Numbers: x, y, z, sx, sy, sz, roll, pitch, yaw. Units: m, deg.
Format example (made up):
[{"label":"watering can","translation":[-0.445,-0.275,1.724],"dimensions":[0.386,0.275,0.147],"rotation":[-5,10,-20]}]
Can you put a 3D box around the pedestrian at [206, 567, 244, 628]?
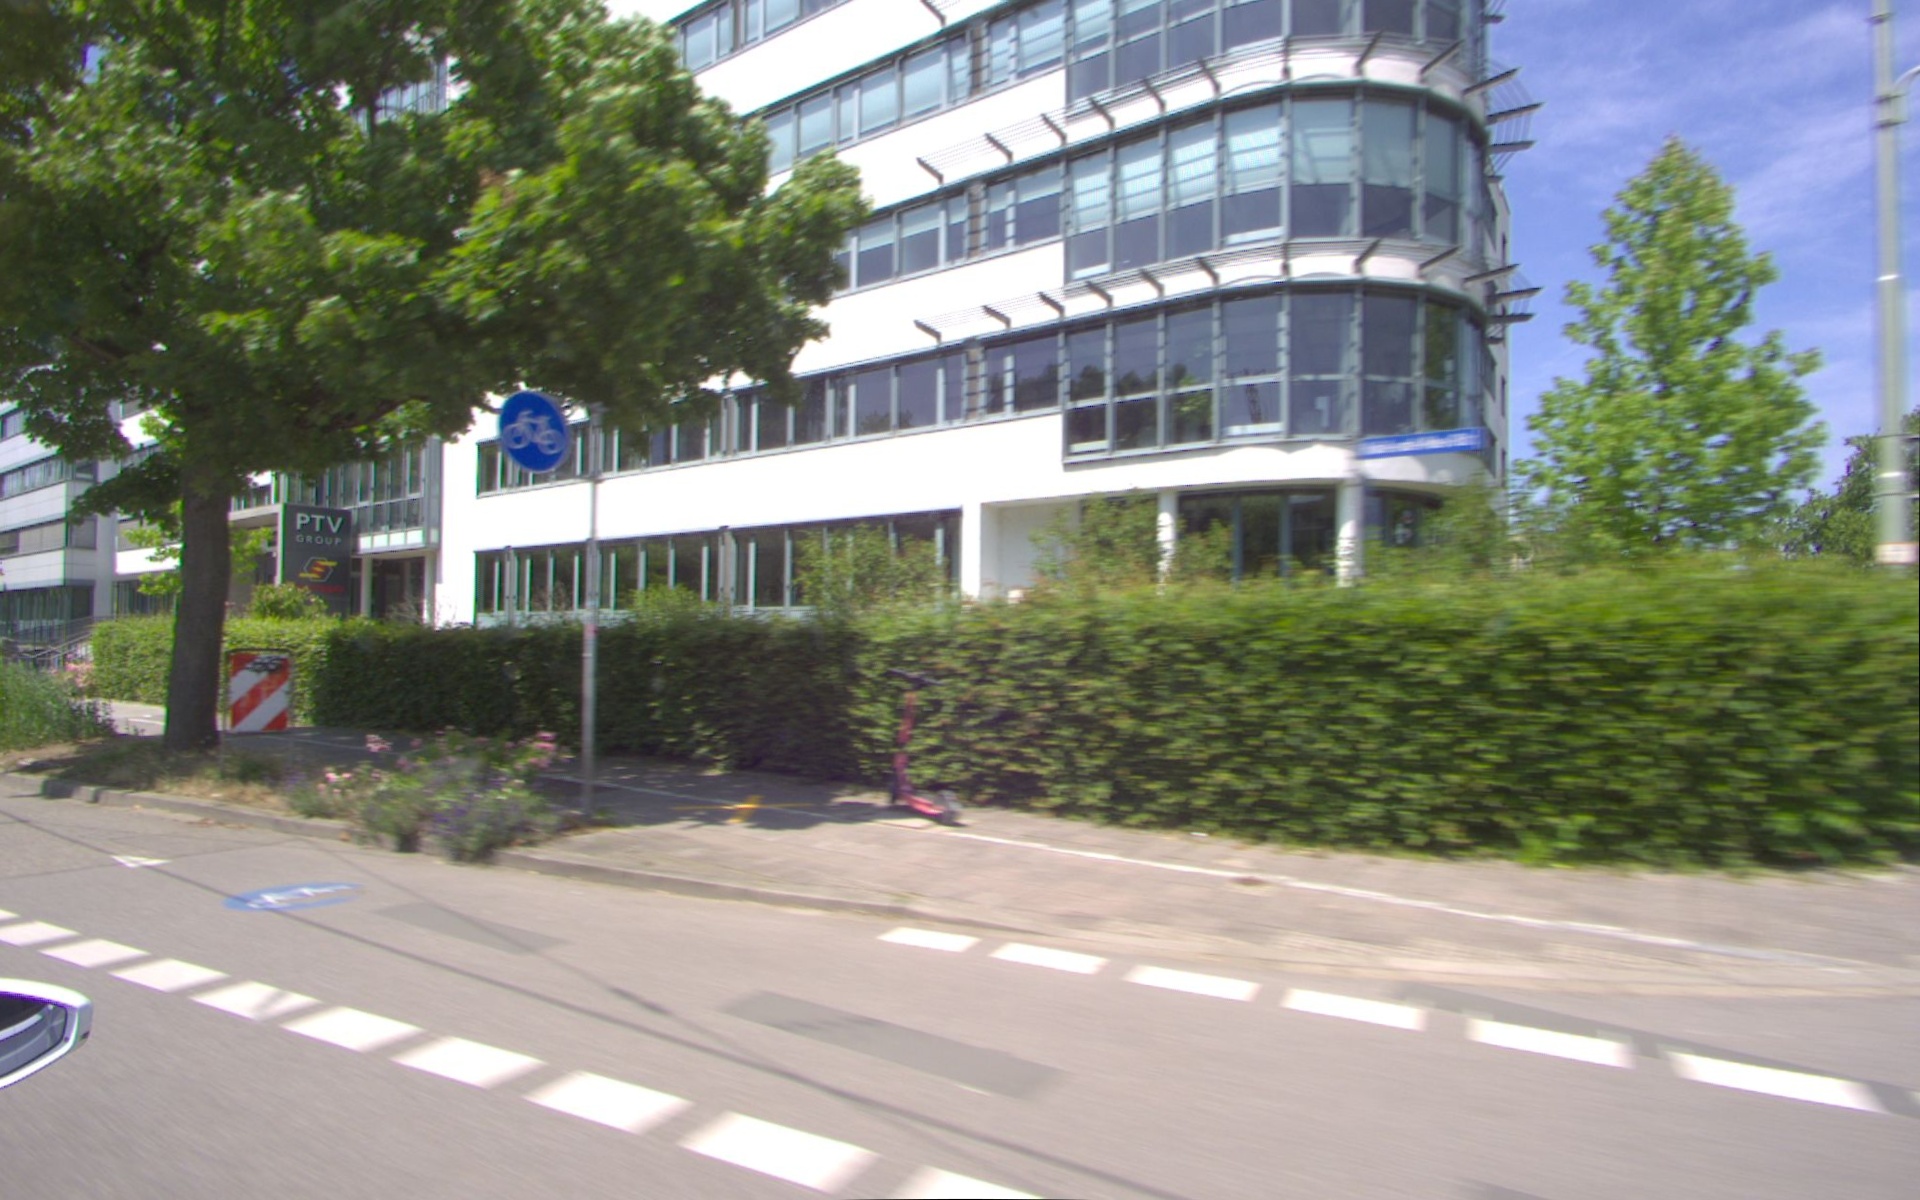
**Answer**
[{"label":"pedestrian","translation":[-21.625,-0.061,29.487],"dimensions":[0.865,1.737,1.082],"rotation":[0,-1,-35]}]

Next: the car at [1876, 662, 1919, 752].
[{"label":"car","translation":[16.731,1.761,16.523],"dimensions":[1.743,1.426,4.141],"rotation":[-1,-3,33]}]

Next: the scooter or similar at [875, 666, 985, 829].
[{"label":"scooter or similar","translation":[-0.268,1.183,8.324],"dimensions":[0.323,1.237,1.145],"rotation":[4,-4,-33]}]
